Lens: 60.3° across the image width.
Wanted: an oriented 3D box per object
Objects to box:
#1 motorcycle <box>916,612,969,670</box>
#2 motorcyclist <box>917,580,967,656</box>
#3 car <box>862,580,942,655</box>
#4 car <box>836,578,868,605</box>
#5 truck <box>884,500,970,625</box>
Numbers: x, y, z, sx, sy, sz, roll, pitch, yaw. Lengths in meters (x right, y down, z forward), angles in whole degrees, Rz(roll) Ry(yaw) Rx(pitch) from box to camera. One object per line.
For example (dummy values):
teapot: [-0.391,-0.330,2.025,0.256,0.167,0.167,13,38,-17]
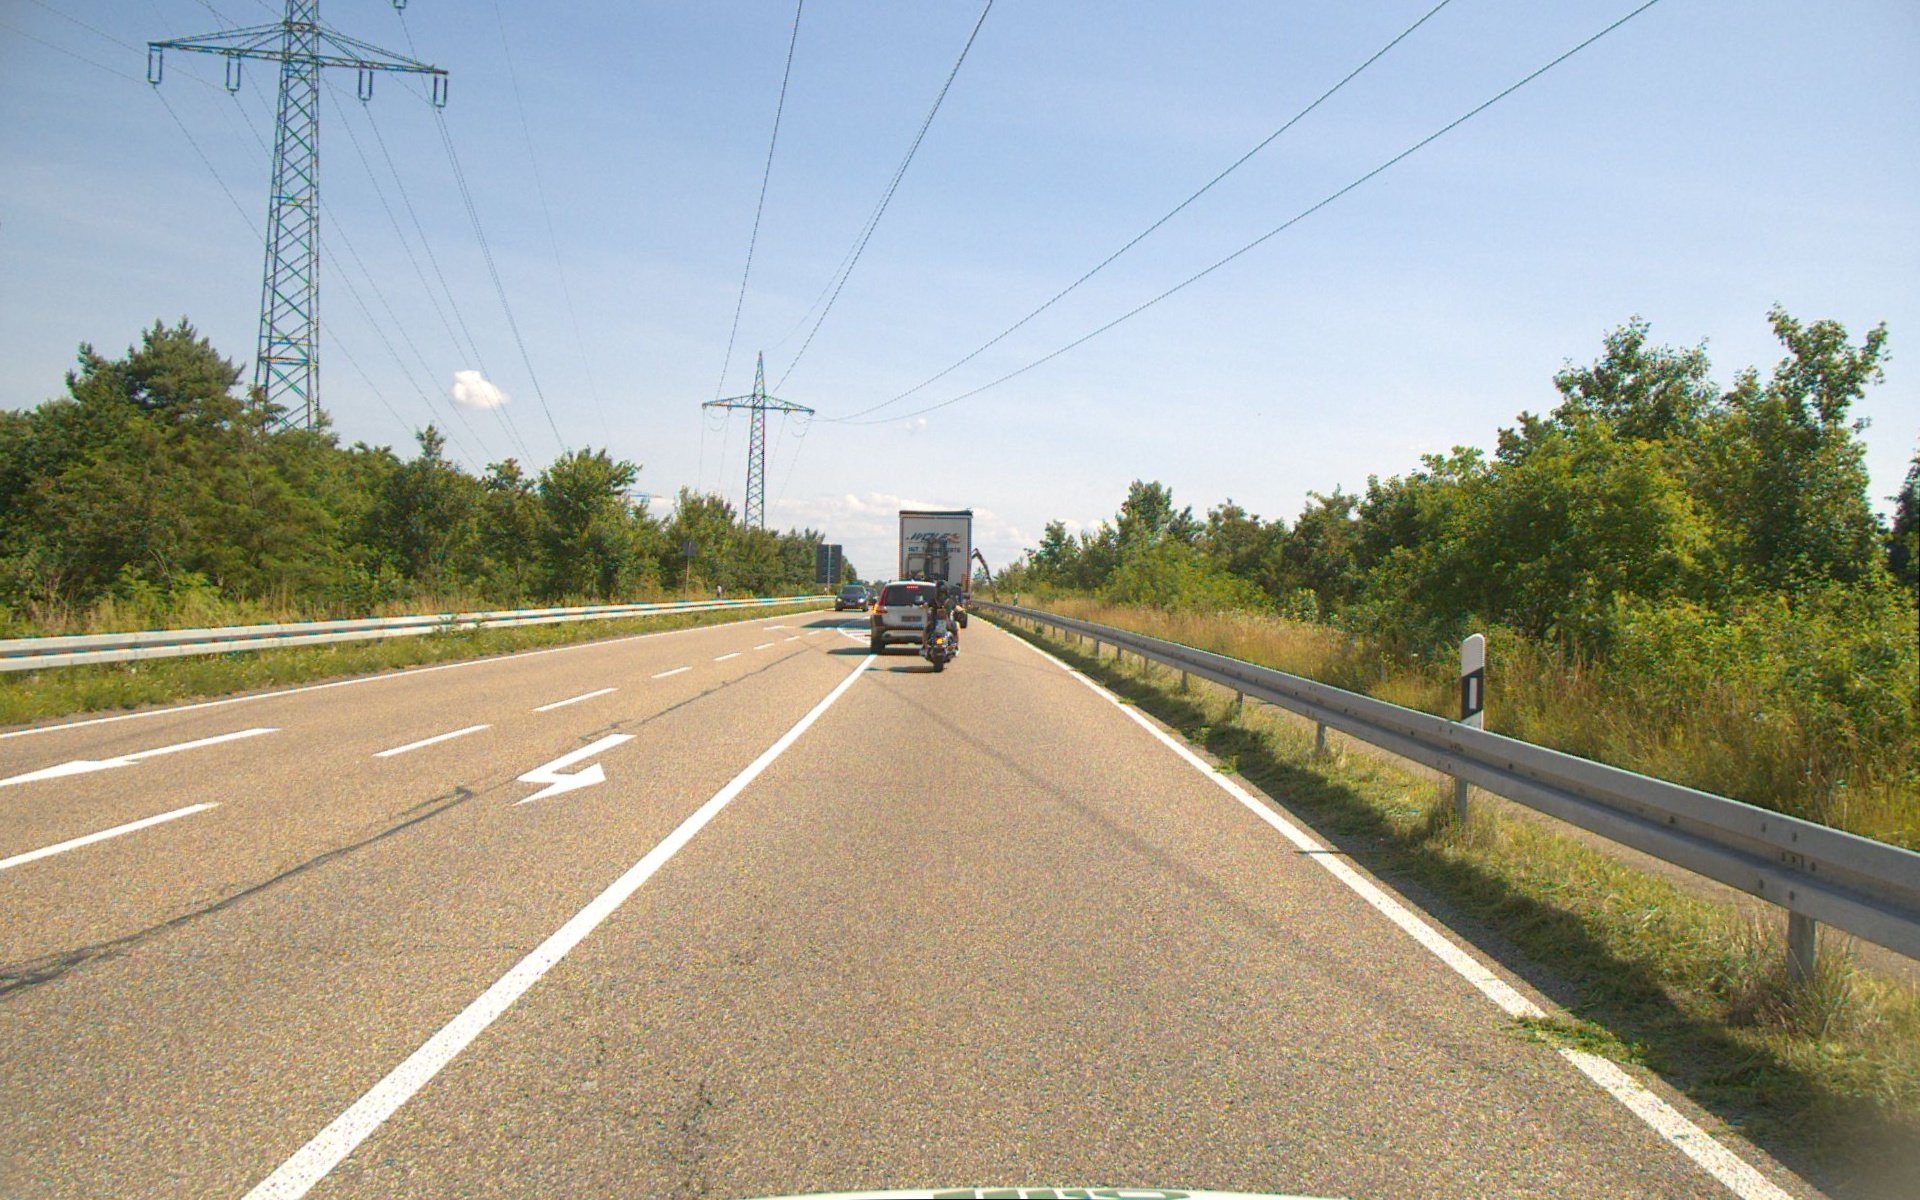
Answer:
motorcycle: [-0.325,0.706,29.149,0.842,0.931,2.226,1,0,-3]
motorcyclist: [-0.321,0.316,29.145,0.820,1.303,0.919,1,0,-3]
car: [-1.276,0.351,36.767,1.667,1.563,3.498,1,0,-2]
car: [-6.335,-0.528,97.167,1.692,1.517,4.421,1,1,-1]
truck: [-1.144,-1.341,64.409,2.907,4.260,14.821,1,0,0]
